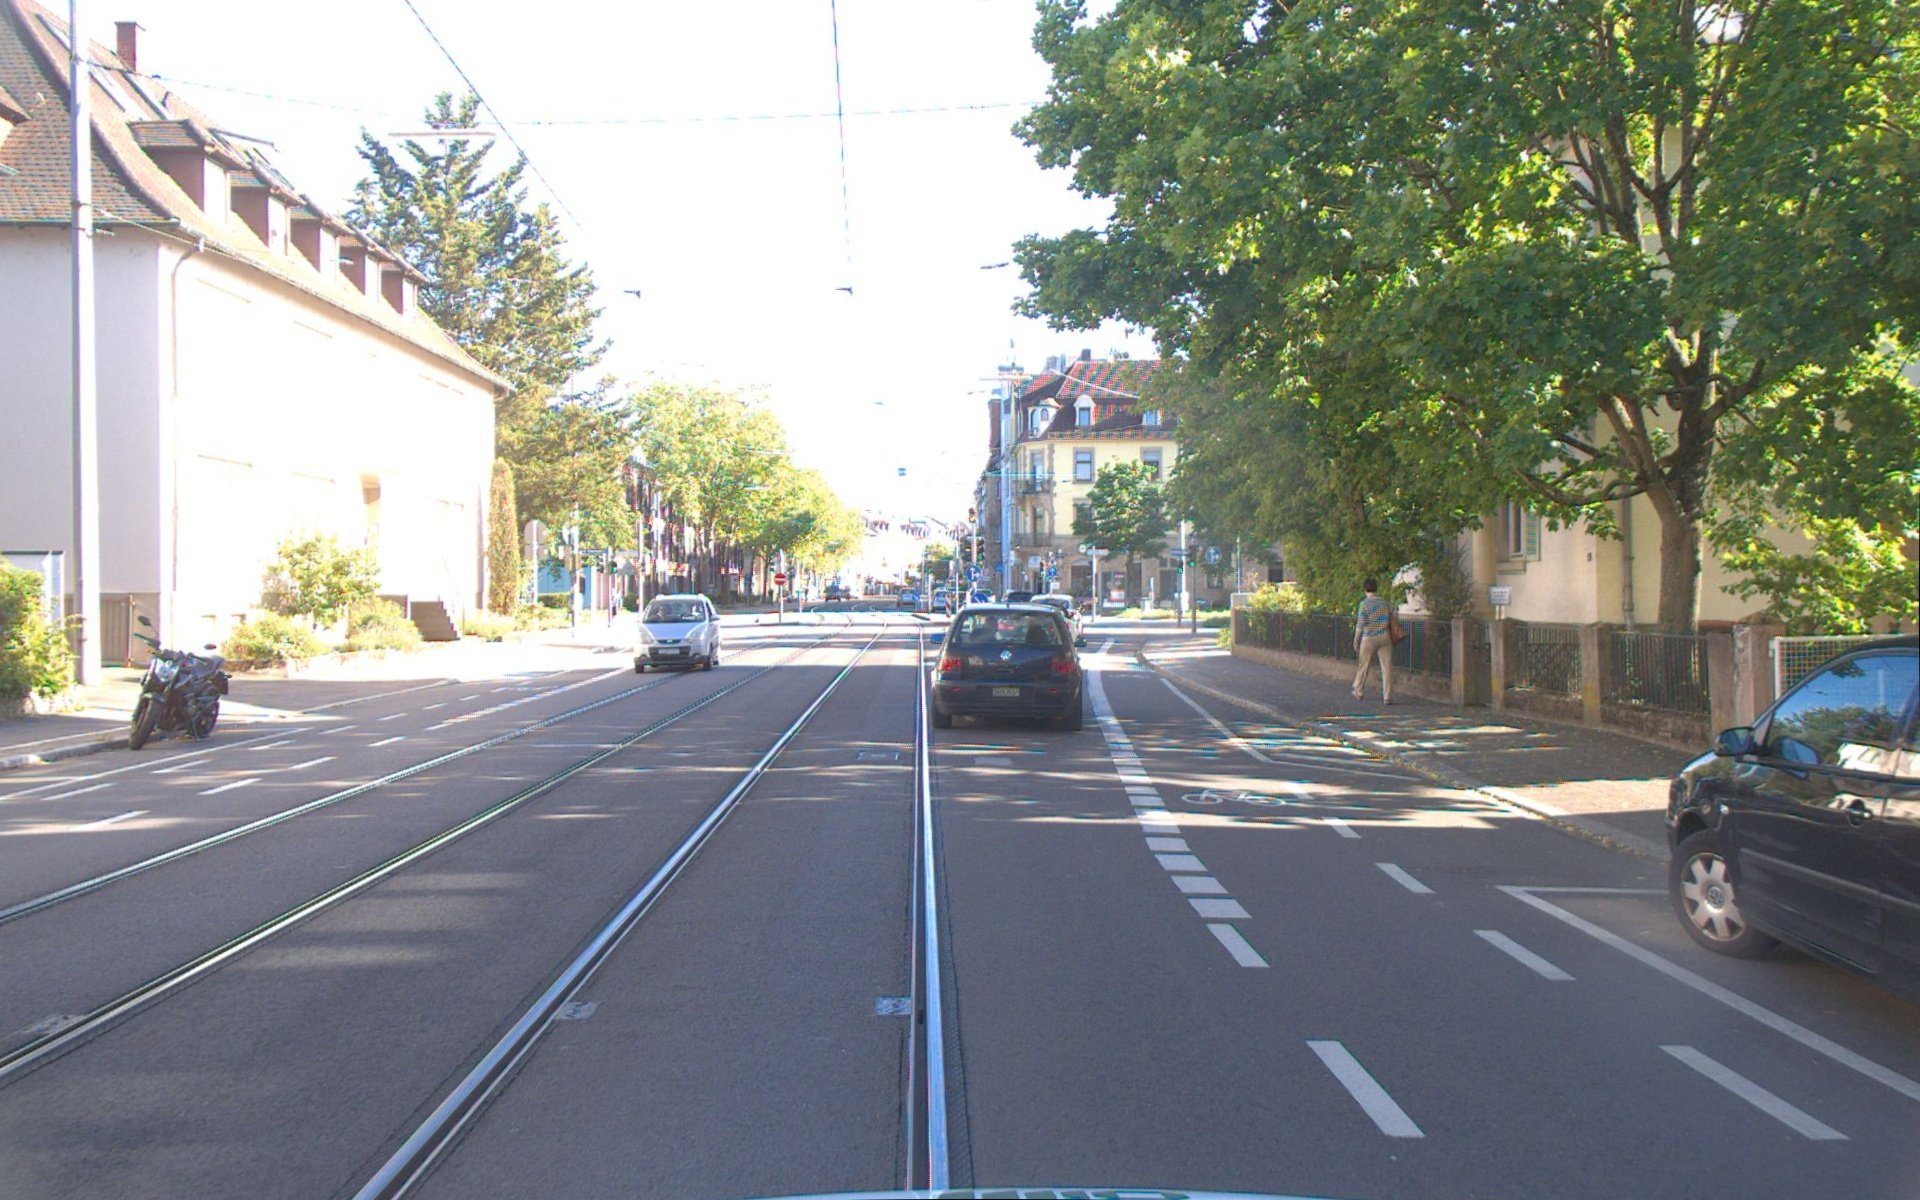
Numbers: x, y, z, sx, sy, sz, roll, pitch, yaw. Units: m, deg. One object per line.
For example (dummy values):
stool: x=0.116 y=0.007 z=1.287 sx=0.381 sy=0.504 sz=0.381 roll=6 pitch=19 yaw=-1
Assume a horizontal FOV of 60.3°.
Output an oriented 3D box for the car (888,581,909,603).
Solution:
car: x=-5.453 y=-0.733 z=146.200 sx=1.751 sy=1.892 sz=3.998 roll=-1 pitch=0 yaw=-3

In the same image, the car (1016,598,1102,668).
car: x=2.131 y=0.688 z=36.378 sx=1.601 sy=1.396 sz=3.757 roll=-1 pitch=0 yaw=-1

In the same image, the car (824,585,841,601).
car: x=-15.662 y=-0.853 z=202.902 sx=1.933 sy=1.847 sz=4.292 roll=-1 pitch=0 yaw=-6

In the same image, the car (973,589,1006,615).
car: x=1.672 y=0.092 z=95.127 sx=1.647 sy=1.479 sz=3.377 roll=-1 pitch=0 yaw=-3

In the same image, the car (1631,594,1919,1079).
car: x=4.008 y=0.775 z=6.142 sx=1.631 sy=1.591 sz=3.772 roll=-1 pitch=0 yaw=3

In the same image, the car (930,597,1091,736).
car: x=0.624 y=0.695 z=19.491 sx=1.680 sy=1.427 sz=4.007 roll=1 pitch=0 yaw=3

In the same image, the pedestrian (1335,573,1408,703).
pedestrian: x=5.631 y=0.508 z=22.676 sx=0.703 sy=1.717 sz=0.870 roll=-2 pitch=0 yaw=-3

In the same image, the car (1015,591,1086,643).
car: x=2.784 y=0.489 z=50.115 sx=1.702 sy=1.466 sz=3.813 roll=-1 pitch=1 yaw=10

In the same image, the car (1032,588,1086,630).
car: x=3.632 y=0.308 z=61.068 sx=1.539 sy=1.334 sz=3.645 roll=-1 pitch=3 yaw=-4

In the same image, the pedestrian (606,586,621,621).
pedestrian: x=-17.217 y=0.163 z=82.152 sx=0.600 sy=1.719 sz=0.729 roll=2 pitch=0 yaw=-20

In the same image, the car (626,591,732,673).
car: x=-5.514 y=0.590 z=32.789 sx=1.543 sy=1.503 sz=3.440 roll=-1 pitch=0 yaw=-1

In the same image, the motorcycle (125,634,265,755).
motorcycle: x=-8.409 y=1.002 z=18.280 sx=0.525 sy=1.182 sz=2.171 roll=-2 pitch=0 yaw=-1

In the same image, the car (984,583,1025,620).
car: x=2.018 y=0.088 z=75.924 sx=1.539 sy=1.334 sz=3.496 roll=-1 pitch=-6 yaw=-4

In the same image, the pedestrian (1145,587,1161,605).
pedestrian: x=12.784 y=-0.257 z=109.734 sx=0.960 sy=1.208 sz=0.743 roll=-1 pitch=0 yaw=-2

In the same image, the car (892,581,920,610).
car: x=-3.663 y=-0.316 z=111.457 sx=1.751 sy=1.892 sz=3.998 roll=2 pitch=0 yaw=-3
